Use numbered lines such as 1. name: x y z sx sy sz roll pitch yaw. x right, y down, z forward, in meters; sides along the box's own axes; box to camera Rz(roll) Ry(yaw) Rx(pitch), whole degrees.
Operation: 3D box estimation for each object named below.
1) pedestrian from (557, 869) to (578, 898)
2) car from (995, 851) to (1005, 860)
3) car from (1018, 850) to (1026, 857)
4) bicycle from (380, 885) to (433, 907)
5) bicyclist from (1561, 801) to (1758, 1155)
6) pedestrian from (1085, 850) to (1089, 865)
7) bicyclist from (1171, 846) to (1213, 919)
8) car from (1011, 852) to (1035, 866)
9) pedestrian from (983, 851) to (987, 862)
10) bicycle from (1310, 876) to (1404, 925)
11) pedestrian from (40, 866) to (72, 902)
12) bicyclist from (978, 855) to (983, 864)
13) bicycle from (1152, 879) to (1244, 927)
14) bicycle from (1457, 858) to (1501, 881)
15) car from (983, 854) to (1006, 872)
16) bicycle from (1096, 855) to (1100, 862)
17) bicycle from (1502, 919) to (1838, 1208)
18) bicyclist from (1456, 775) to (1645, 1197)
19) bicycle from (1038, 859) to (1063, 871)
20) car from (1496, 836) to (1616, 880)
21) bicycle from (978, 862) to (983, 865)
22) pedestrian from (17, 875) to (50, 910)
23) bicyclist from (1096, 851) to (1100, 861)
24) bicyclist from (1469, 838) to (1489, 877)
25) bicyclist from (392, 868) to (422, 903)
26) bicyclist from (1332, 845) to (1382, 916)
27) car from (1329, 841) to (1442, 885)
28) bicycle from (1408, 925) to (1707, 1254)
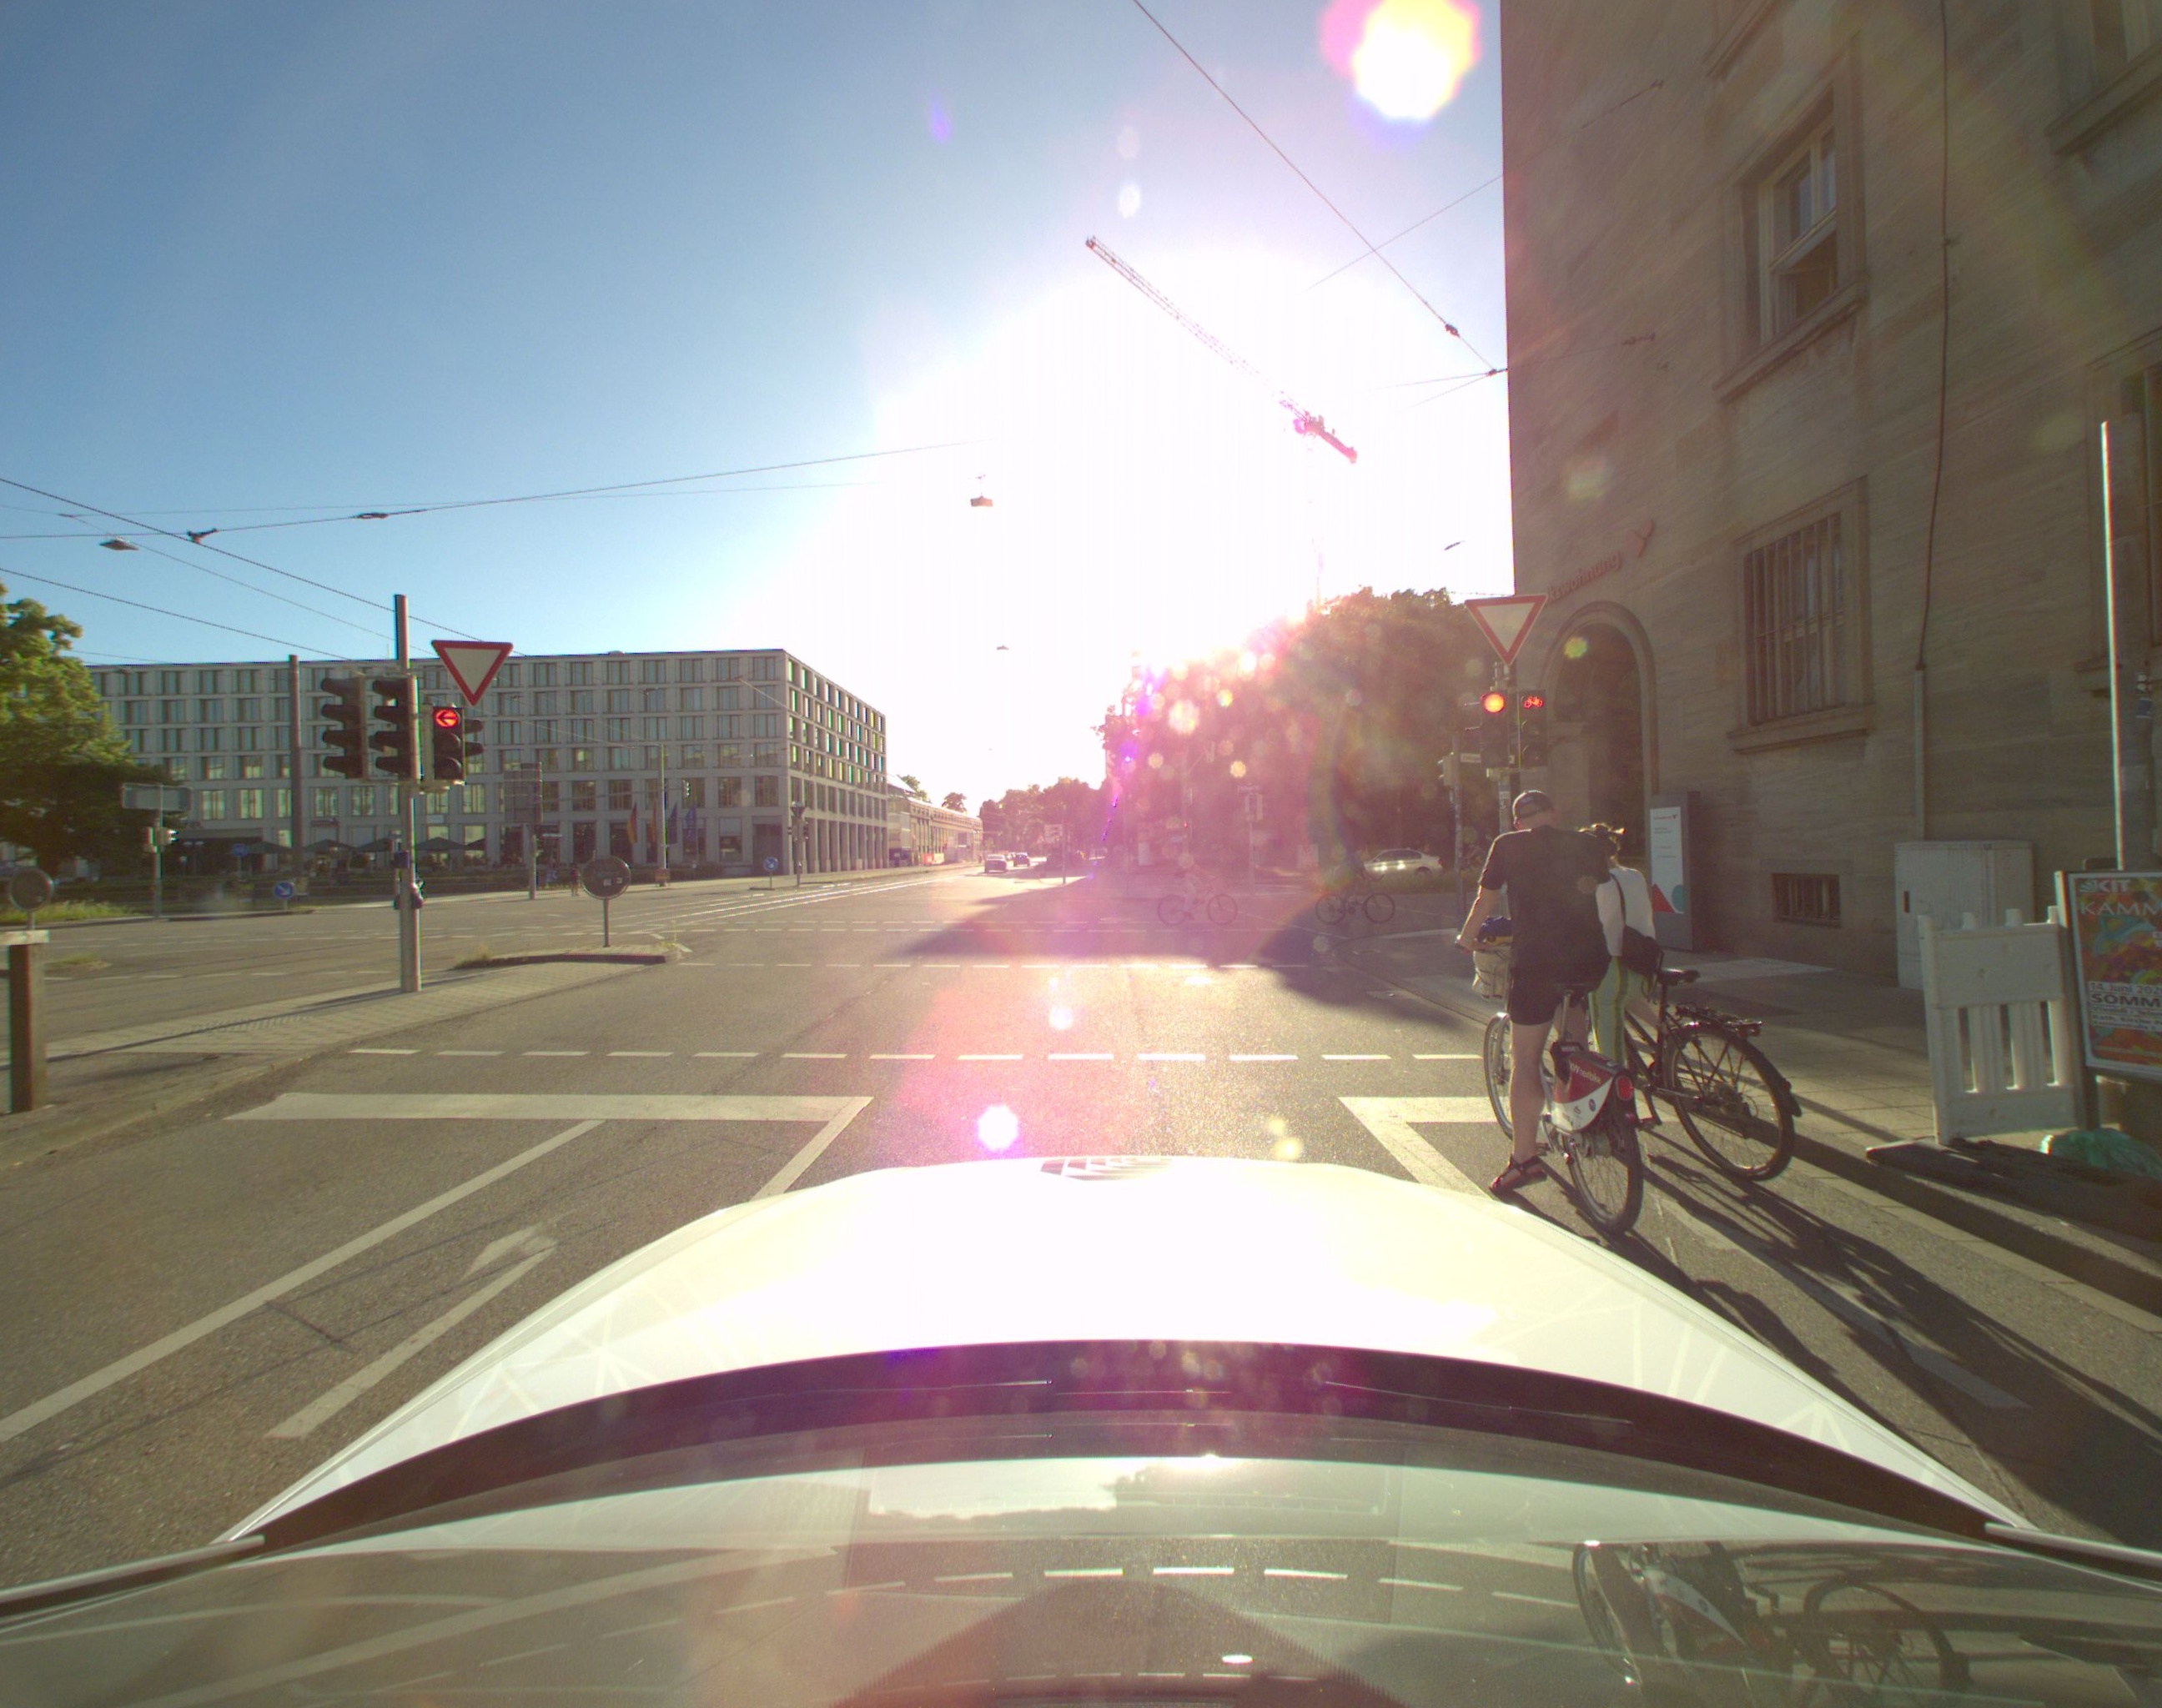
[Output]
1. pedestrian: -28.701 1.624 45.524 0.775 1.589 0.589 -2 0 -9
2. car: -15.644 0.270 157.058 1.688 1.718 4.245 0 -1 -1
3. car: -14.212 -0.111 195.308 1.688 1.718 4.245 0 -1 -1
4. bicycle: -32.719 2.021 39.544 0.755 0.935 1.871 -2 0 14
5. bicyclist: 2.967 0.594 4.231 0.556 1.691 0.640 -1 0 0
6. pedestrian: 0.736 0.405 97.887 0.462 1.813 0.502 -2 0 -3
7. bicyclist: 2.355 0.597 17.381 0.761 1.524 0.606 -2 0 -3
8. car: -6.679 0.593 94.453 1.882 1.565 4.815 1 0 6
9. pedestrian: -18.444 0.489 156.957 0.672 2.014 0.751 0 -1 -1
10. bicycle: 5.770 0.964 17.093 1.739 0.935 0.645 -2 0 -3
11. pedestrian: -57.770 1.677 45.900 0.837 2.014 0.827 -1 -1 11
12. bicyclist: -14.533 0.790 118.015 0.594 1.377 0.637 0 -1 0
13. bicycle: 2.485 1.040 17.382 1.853 0.935 0.559 -2 0 -4
14. bicycle: 17.560 0.691 35.968 1.657 0.963 0.535 -2 0 7
15. car: -7.141 0.735 67.512 1.657 1.455 4.426 -1 0 -4
16. bicycle: 2.747 0.759 133.810 0.573 1.077 1.831 -2 0 1
17. bicycle: 2.956 0.960 4.338 0.532 1.077 1.751 -1 0 1
18. bicyclist: 2.136 0.563 3.764 0.556 1.799 0.551 -1 0 3
19. bicycle: -2.554 0.910 67.689 1.996 0.891 0.655 -4 -1 29
20. car: 19.163 0.149 32.962 3.835 1.611 1.650 -2 0 1
21. bicycle: -14.524 1.368 117.996 0.499 0.515 1.258 0 -1 1
22. pedestrian: -57.702 2.111 44.881 0.711 1.900 0.877 -1 -1 11
23. bicyclist: 2.739 0.368 133.842 0.567 1.691 0.700 -2 0 1
24. bicyclist: 17.580 0.153 35.969 0.640 1.683 0.508 -2 0 7
25. bicyclist: -32.736 1.525 39.552 0.753 1.589 0.781 -3 0 16
26. bicyclist: 5.779 0.540 17.095 0.796 1.450 0.616 -1 0 -4
27. car: 12.362 0.356 33.240 3.979 1.611 1.650 -2 0 1
28. bicycle: 2.134 0.960 3.921 0.513 1.077 1.729 -1 0 4
